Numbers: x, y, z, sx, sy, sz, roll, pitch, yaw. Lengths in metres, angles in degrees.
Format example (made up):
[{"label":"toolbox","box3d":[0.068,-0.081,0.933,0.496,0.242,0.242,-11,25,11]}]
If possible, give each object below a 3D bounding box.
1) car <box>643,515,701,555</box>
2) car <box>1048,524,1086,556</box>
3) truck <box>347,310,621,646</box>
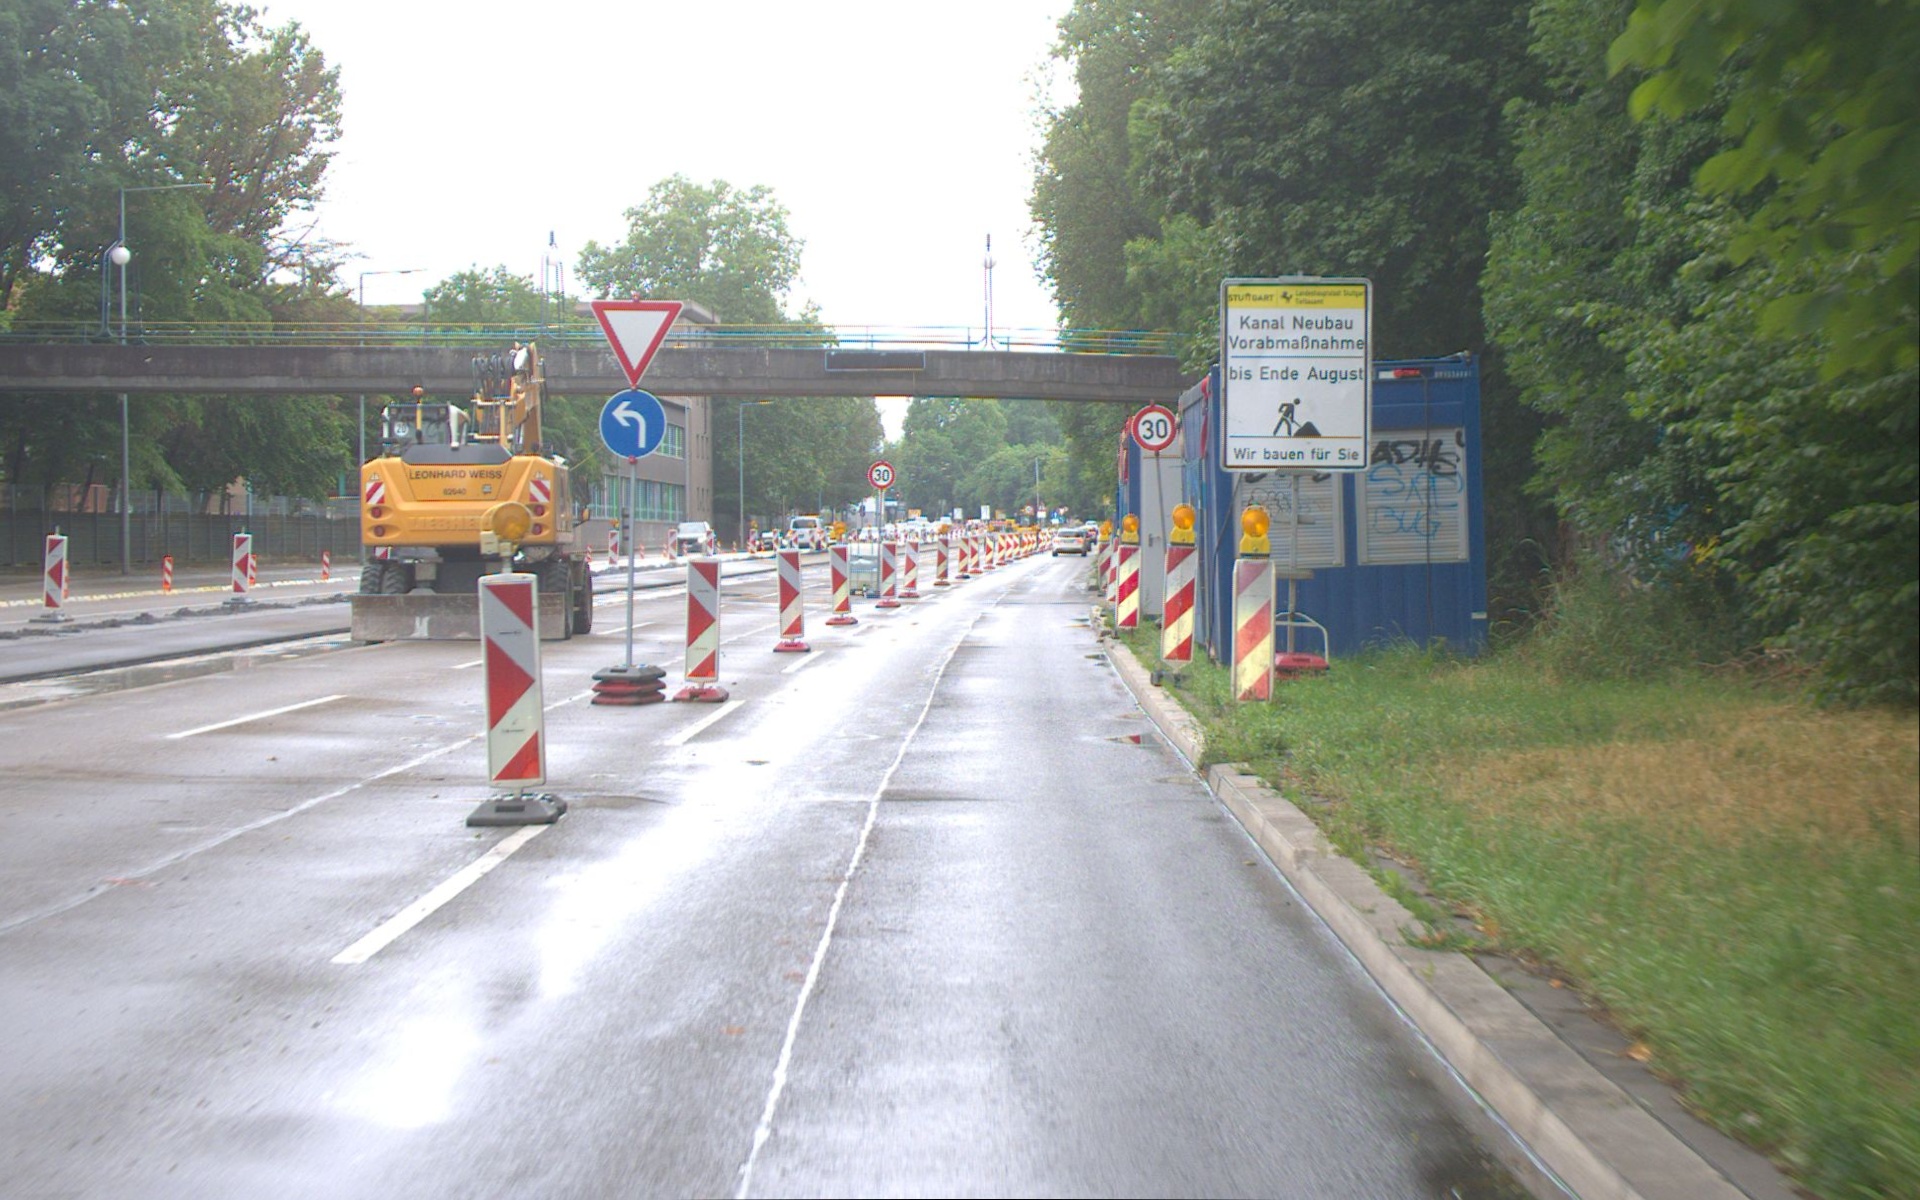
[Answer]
[{"label":"car","box3d":[-13.099,-2.951,156.624,1.971,1.800,4.607,-1,1,3]},{"label":"car","box3d":[5.737,-3.202,183.865,1.993,1.634,4.000,-1,1,2]},{"label":"truck","box3d":[-6.624,-1.666,49.407,2.897,4.244,10.757,1,1,-3]}]
